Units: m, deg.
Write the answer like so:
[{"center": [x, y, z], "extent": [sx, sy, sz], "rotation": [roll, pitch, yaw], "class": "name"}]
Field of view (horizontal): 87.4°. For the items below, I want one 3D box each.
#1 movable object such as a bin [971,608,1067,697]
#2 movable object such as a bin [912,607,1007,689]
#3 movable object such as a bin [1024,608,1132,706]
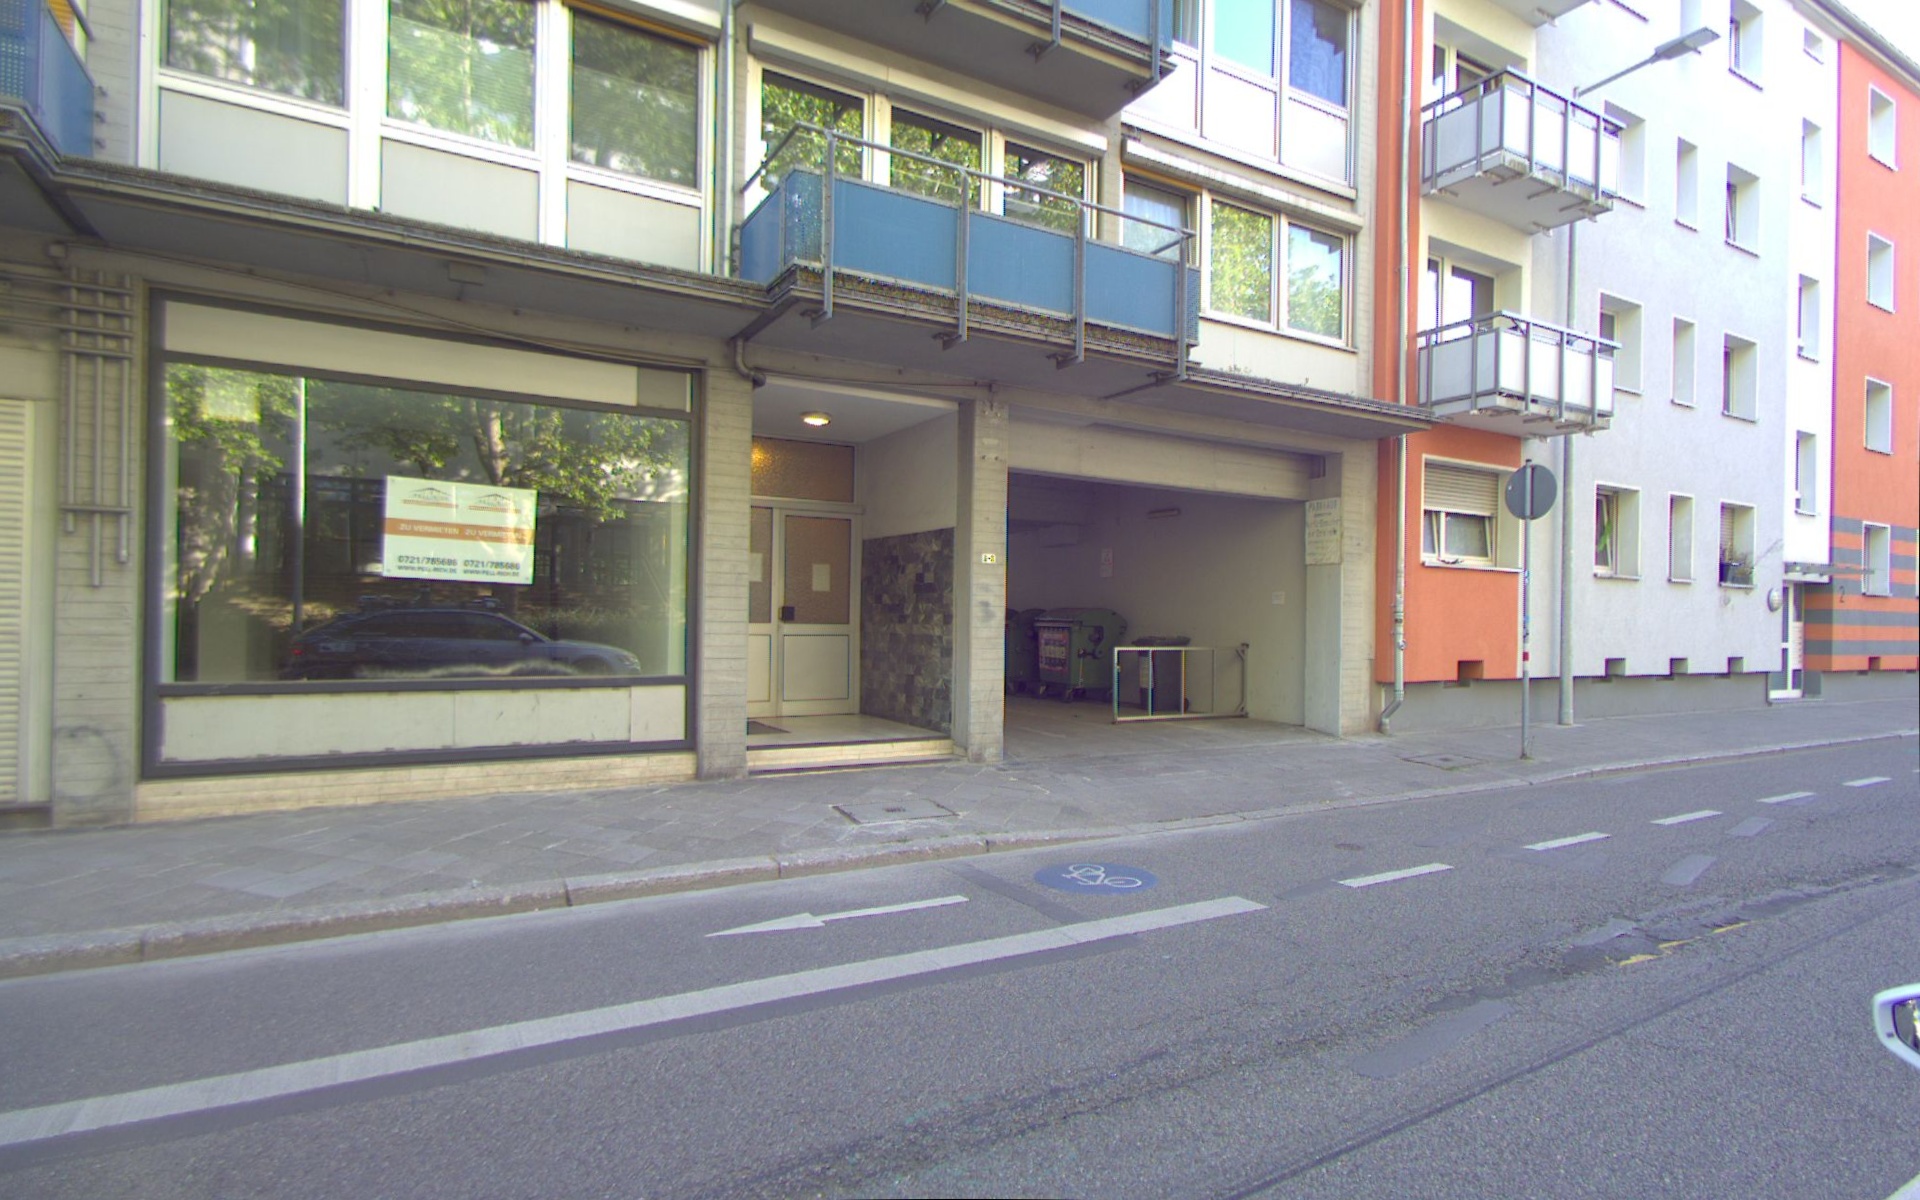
[{"center": [0.993, 0.869, 17.175], "extent": [1.119, 1.449, 1.322], "rotation": [1, 0, -28], "class": "movable object such as a bin"}, {"center": [-0.034, 0.867, 18.878], "extent": [1.119, 1.449, 1.666], "rotation": [1, 0, -28], "class": "movable object such as a bin"}, {"center": [1.845, 0.863, 15.852], "extent": [1.128, 1.449, 1.342], "rotation": [1, 0, -28], "class": "movable object such as a bin"}]
